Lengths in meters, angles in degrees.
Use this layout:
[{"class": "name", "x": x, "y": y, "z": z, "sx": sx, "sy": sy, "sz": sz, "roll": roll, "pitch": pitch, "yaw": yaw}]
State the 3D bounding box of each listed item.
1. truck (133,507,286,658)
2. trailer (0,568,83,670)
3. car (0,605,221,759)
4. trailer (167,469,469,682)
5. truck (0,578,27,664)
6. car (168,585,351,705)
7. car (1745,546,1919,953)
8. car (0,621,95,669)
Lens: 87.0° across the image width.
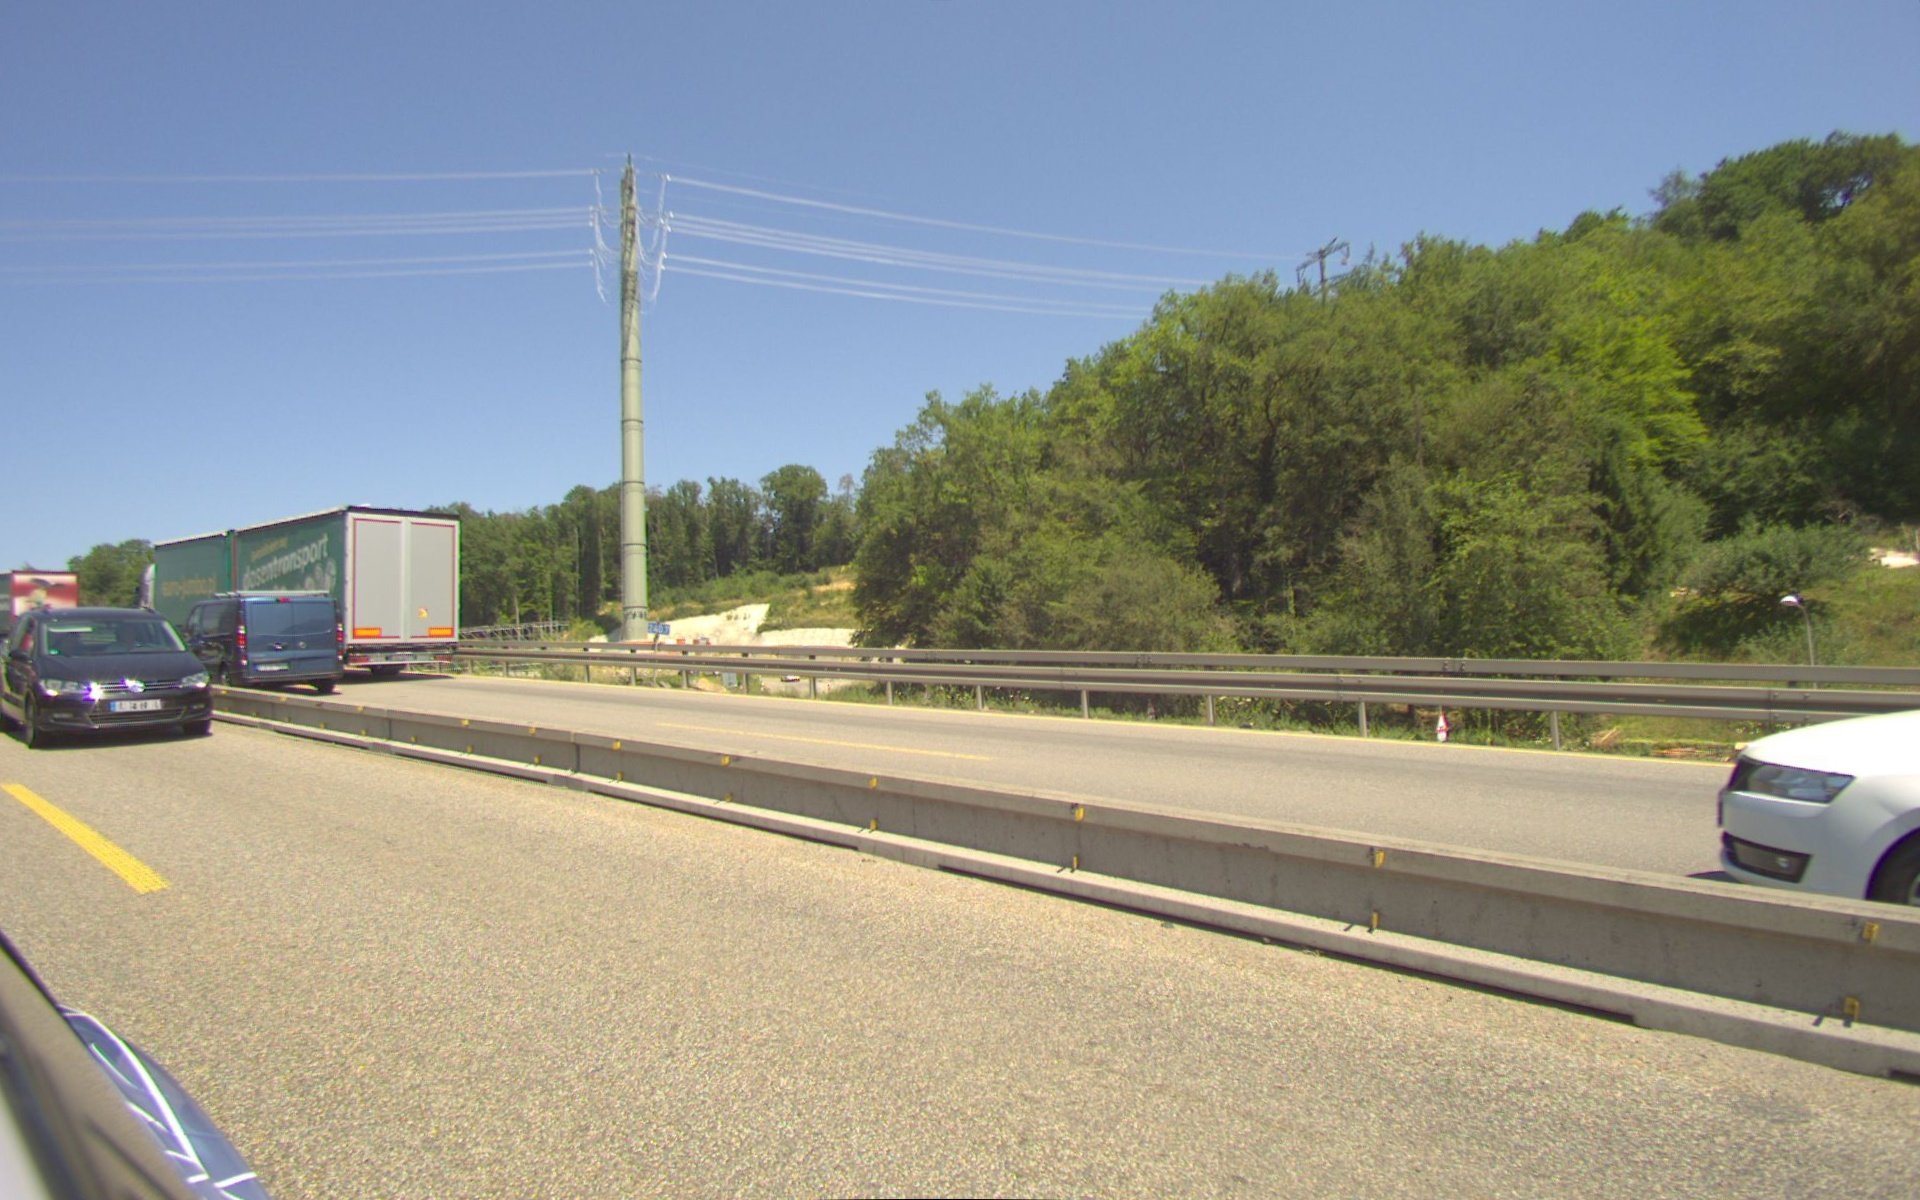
[{"class": "truck", "x": -25.132, "y": -0.522, "z": 33.819, "sx": 5.782, "sy": 4.614, "sz": 2.818, "roll": 0, "pitch": 0, "yaw": 40}, {"class": "trailer", "x": -50.590, "y": 1.082, "z": 53.927, "sx": 13.978, "sy": 4.852, "sz": 3.036, "roll": -2, "pitch": -1, "yaw": 37}, {"class": "car", "x": -11.893, "y": 0.994, "z": 13.772, "sx": 5.300, "sy": 1.719, "sz": 1.837, "roll": -2, "pitch": -2, "yaw": 41}, {"class": "trailer", "x": -18.310, "y": -0.516, "z": 28.011, "sx": 14.569, "sy": 4.676, "sz": 2.805, "roll": 0, "pitch": 0, "yaw": 40}, {"class": "truck", "x": -56.122, "y": 1.249, "z": 58.110, "sx": 4.638, "sy": 4.858, "sz": 3.032, "roll": -2, "pitch": -1, "yaw": 37}, {"class": "car", "x": -14.497, "y": 0.837, "z": 20.837, "sx": 4.830, "sy": 2.189, "sz": 1.973, "roll": 0, "pitch": 0, "yaw": 41}, {"class": "car", "x": 5.298, "y": 0.578, "z": 3.369, "sx": 4.153, "sy": 1.533, "sz": 1.564, "roll": 0, "pitch": -2, "yaw": 42}, {"class": "car", "x": -31.641, "y": 1.502, "z": 35.015, "sx": 4.754, "sy": 1.473, "sz": 1.882, "roll": 0, "pitch": 0, "yaw": 40}]
